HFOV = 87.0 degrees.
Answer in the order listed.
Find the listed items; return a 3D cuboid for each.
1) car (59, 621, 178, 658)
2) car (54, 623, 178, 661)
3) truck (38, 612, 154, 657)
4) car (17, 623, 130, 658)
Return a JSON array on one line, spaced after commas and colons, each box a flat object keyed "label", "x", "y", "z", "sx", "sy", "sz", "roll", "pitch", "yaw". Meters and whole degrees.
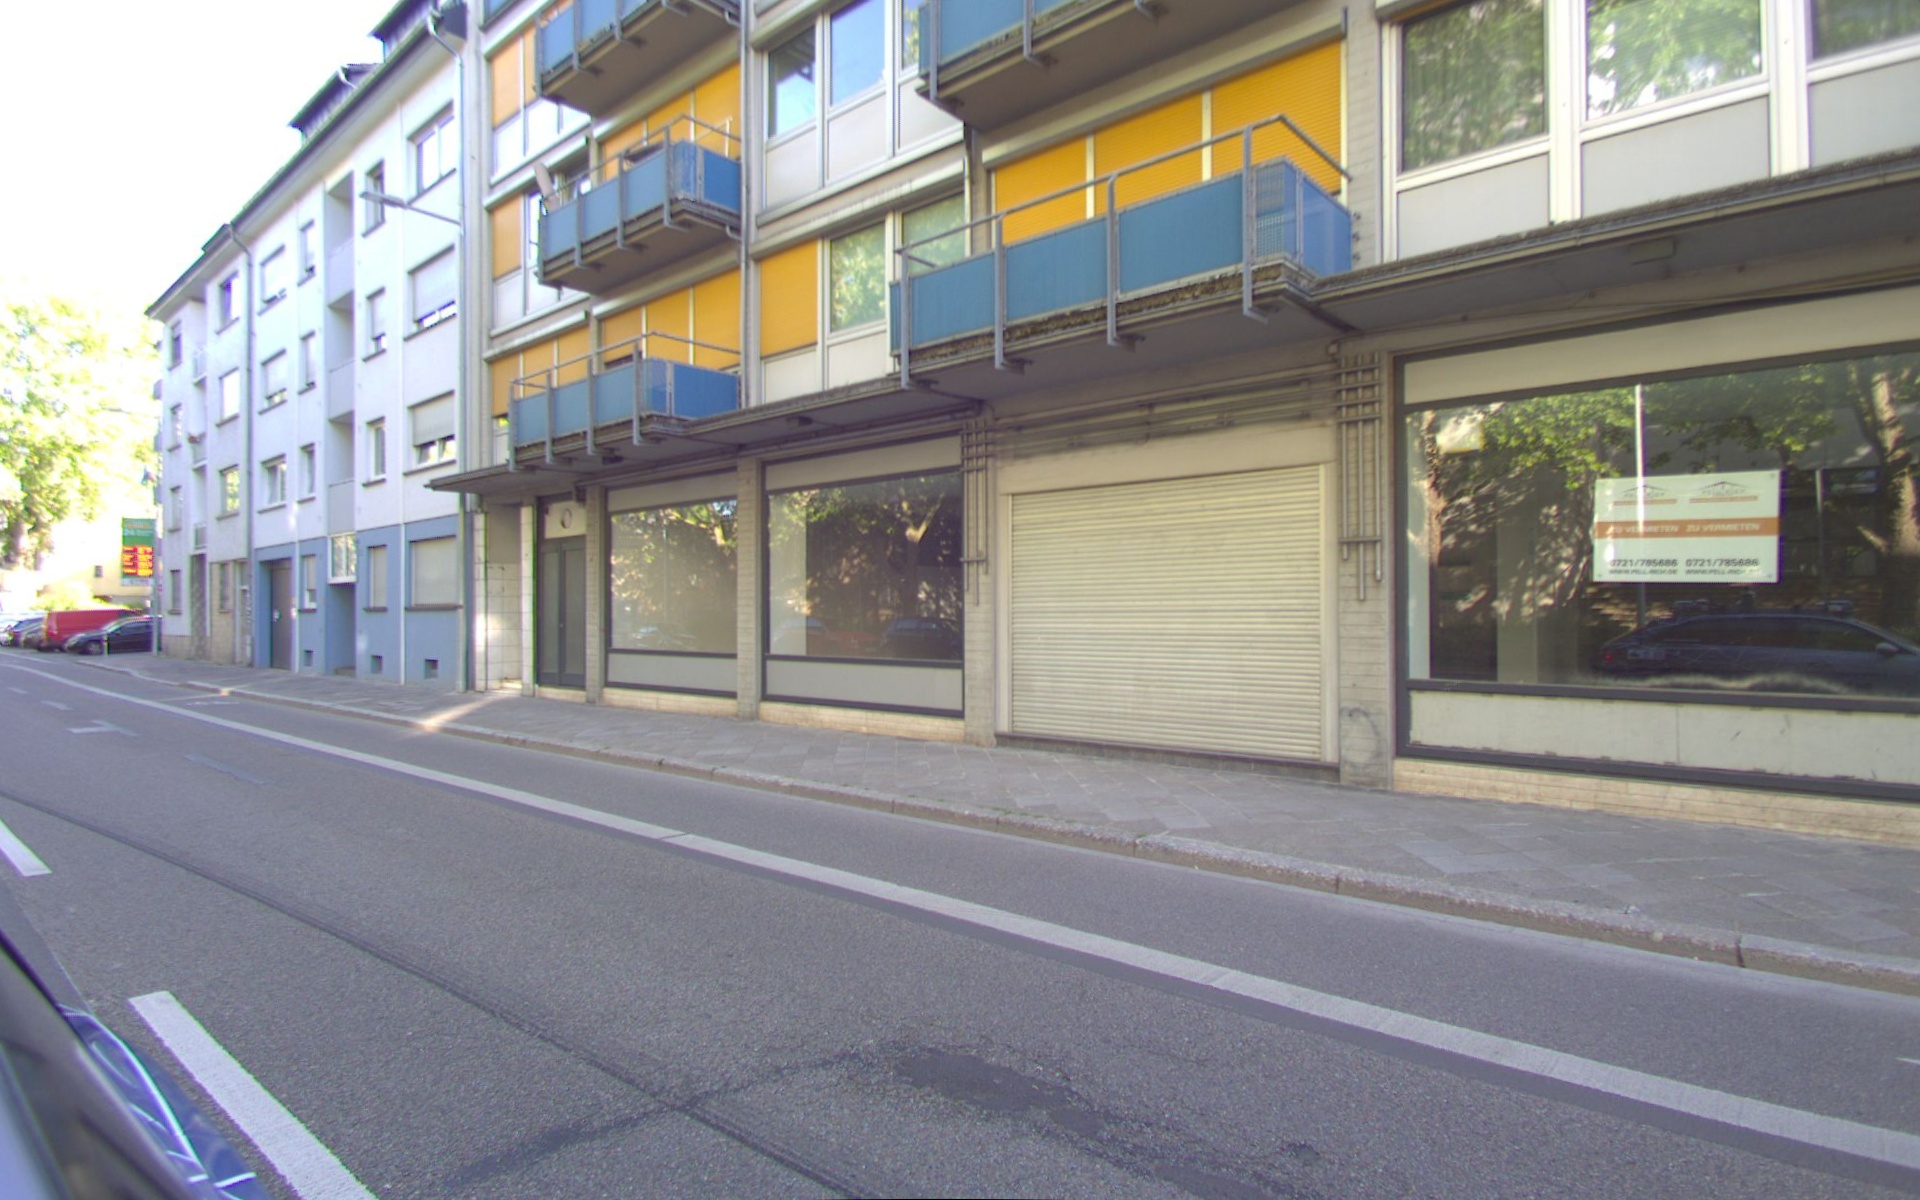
[{"label": "car", "x": -38.113, "y": 1.767, "z": 45.899, "sx": 1.761, "sy": 1.514, "sz": 3.944, "roll": -1, "pitch": 0, "yaw": 42}, {"label": "car", "x": -36.633, "y": 1.771, "z": 44.011, "sx": 1.761, "sy": 1.468, "sz": 3.944, "roll": -1, "pitch": 0, "yaw": 42}, {"label": "truck", "x": -40.504, "y": 1.580, "z": 47.491, "sx": 1.761, "sy": 1.951, "sz": 3.944, "roll": -1, "pitch": 0, "yaw": 42}, {"label": "car", "x": -42.914, "y": 1.912, "z": 49.039, "sx": 1.761, "sy": 1.514, "sz": 3.944, "roll": -1, "pitch": 0, "yaw": 42}]
